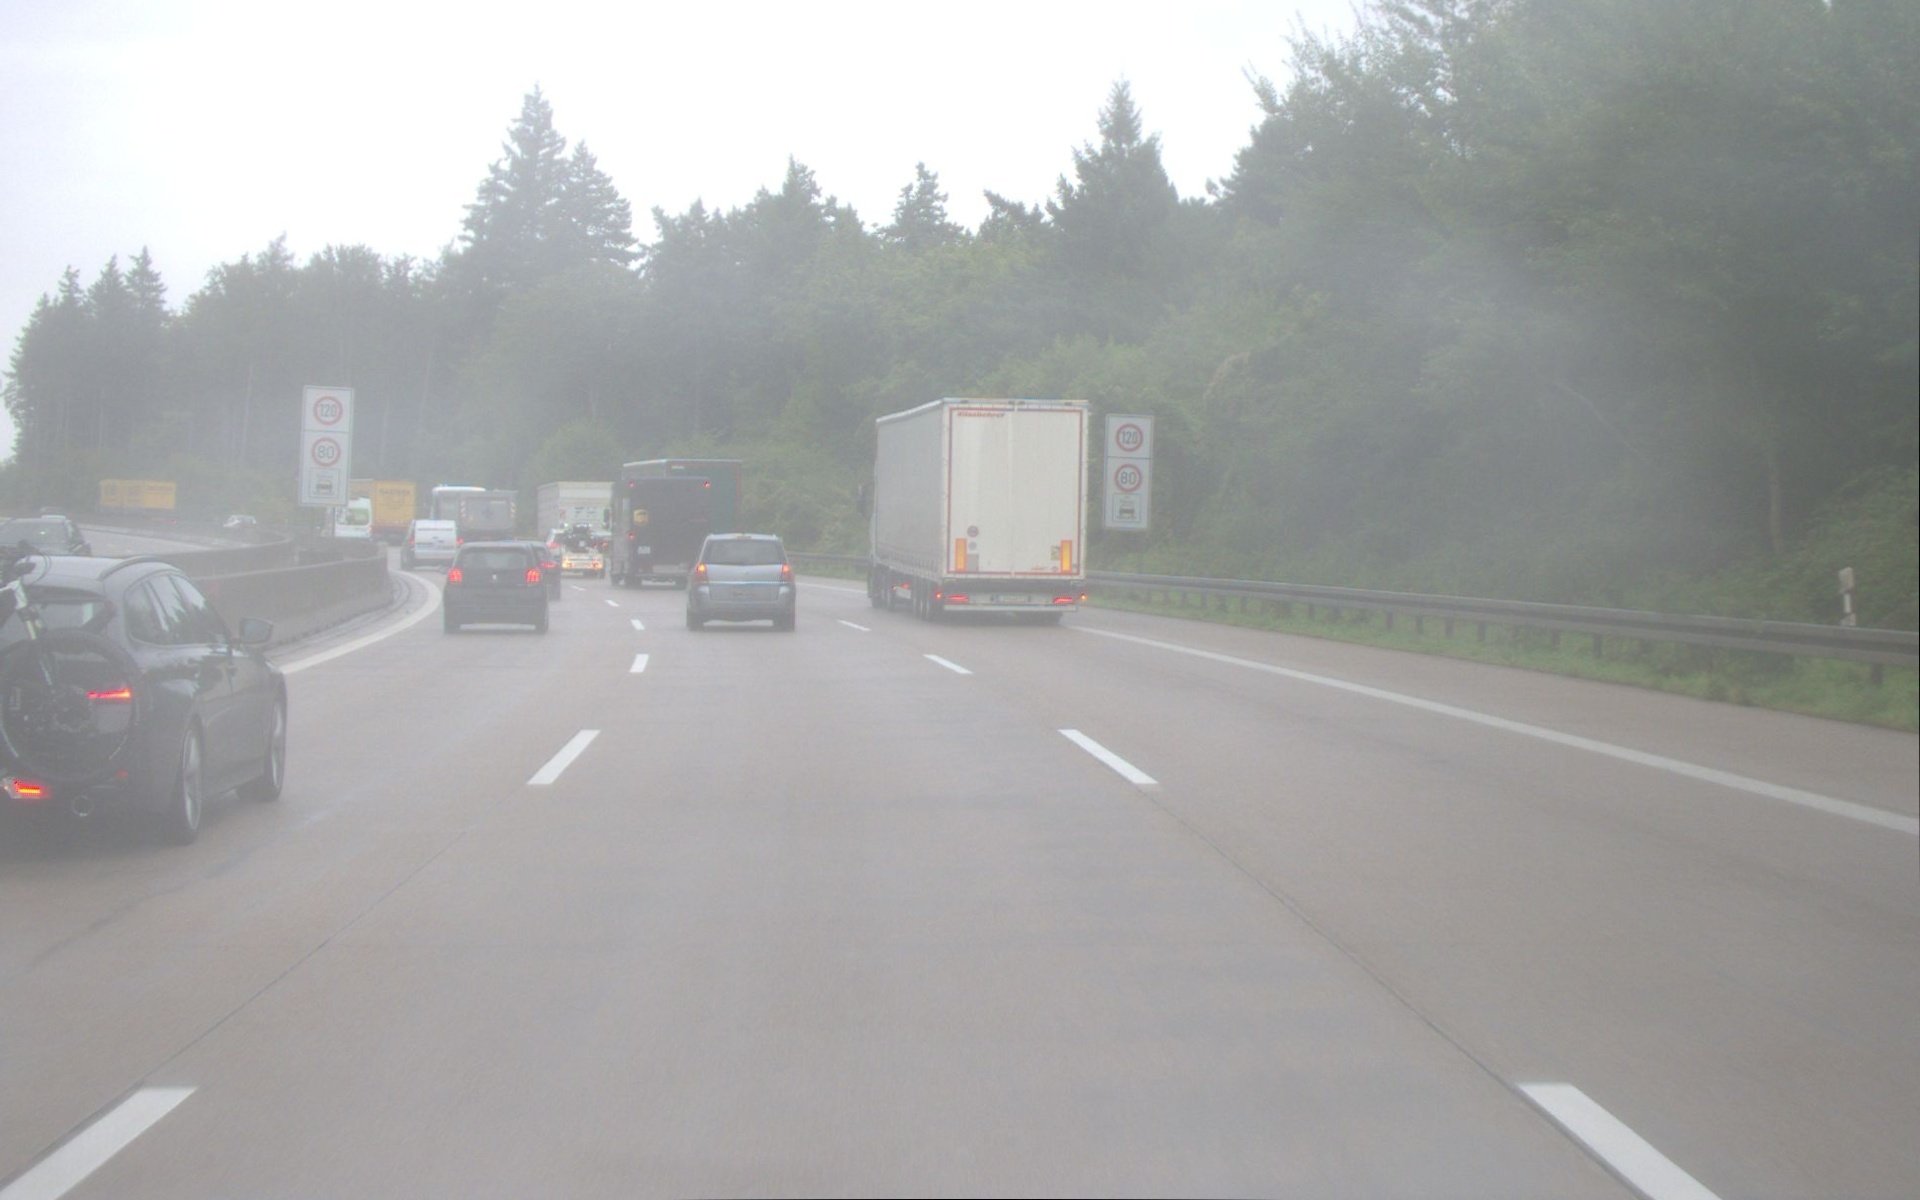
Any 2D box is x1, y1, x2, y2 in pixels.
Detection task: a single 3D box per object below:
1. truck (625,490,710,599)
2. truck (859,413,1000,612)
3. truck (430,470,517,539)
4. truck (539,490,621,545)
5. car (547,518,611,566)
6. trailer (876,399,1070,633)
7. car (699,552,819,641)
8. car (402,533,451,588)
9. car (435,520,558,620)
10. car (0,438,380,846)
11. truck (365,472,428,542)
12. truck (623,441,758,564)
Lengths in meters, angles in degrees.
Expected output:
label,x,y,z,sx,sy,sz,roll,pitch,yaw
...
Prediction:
label,x,y,z,sx,sy,sz,roll,pitch,yaw
truck,-8.301,-1.636,97.694,2.269,2.877,7.905,1,2,-5
truck,-0.694,-1.857,73.135,2.419,4.054,4.979,1,1,-7
truck,-21.512,-4.242,151.561,3.081,2.895,7.906,1,2,-13
truck,-17.081,-3.730,154.222,2.973,2.301,6.669,2,1,-11
car,-12.526,-1.936,113.160,1.881,1.468,4.001,2,1,-4
trailer,0.091,-1.632,66.033,2.419,4.054,12.057,1,1,-6
car,-3.321,-0.079,57.370,1.554,1.347,3.683,2,1,3
car,-19.419,-1.443,125.255,1.725,2.007,3.658,0,1,-8
car,-7.374,-0.507,54.921,1.683,1.457,3.684,2,1,-4
car,-4.657,0.133,19.389,1.907,1.938,6.163,0,1,-2
truck,-34.452,-5.658,210.431,3.739,4.195,6.820,0,1,-9
truck,-9.665,-3.458,122.054,3.368,4.117,10.441,0,1,-12
